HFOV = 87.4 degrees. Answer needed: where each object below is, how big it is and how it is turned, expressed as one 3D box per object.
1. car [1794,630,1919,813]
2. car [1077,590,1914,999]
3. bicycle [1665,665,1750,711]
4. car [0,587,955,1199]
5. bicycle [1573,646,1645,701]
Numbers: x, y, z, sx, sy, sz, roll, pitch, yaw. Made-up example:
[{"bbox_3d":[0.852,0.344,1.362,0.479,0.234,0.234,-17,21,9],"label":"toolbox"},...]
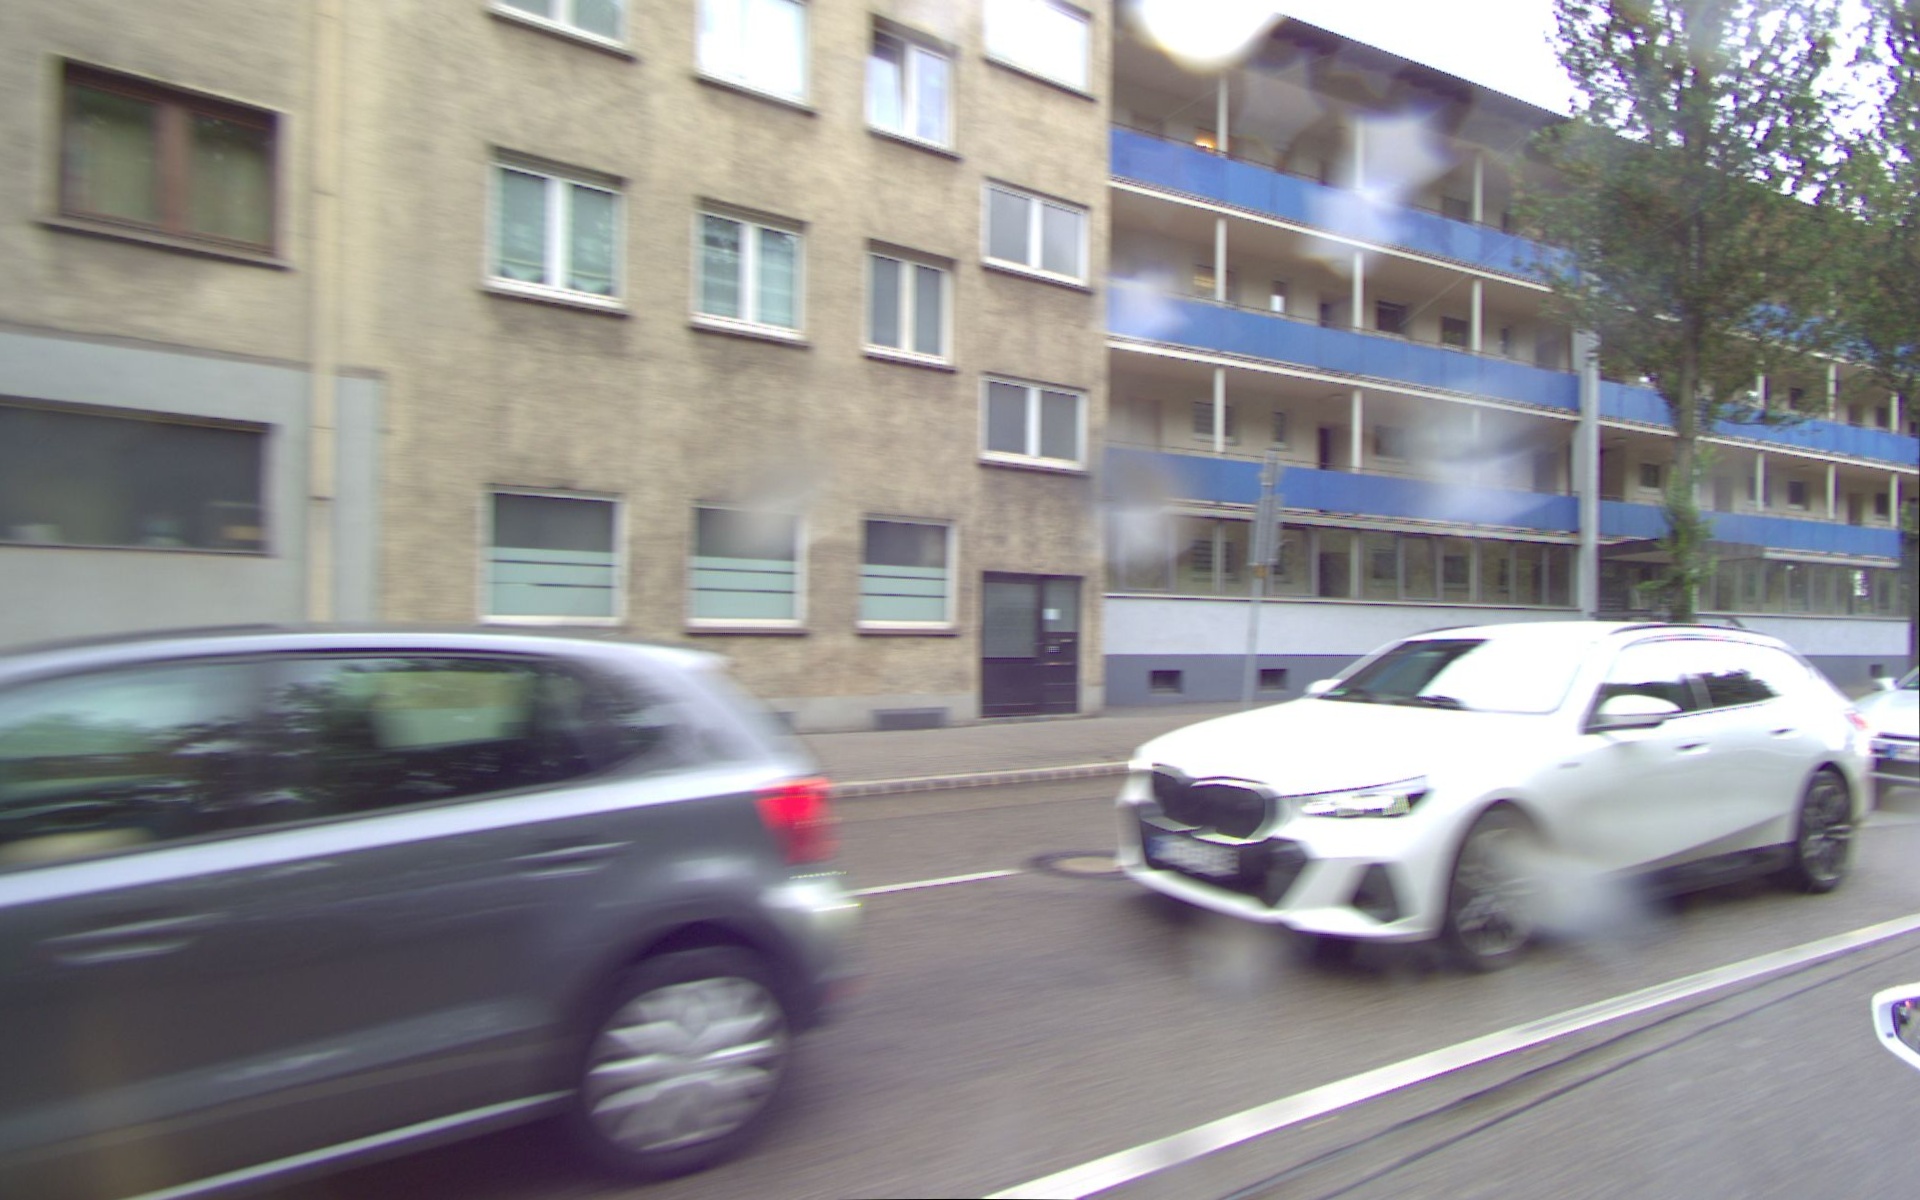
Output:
[{"bbox_3d":[9.652,1.019,8.973,4.477,1.444,1.747,1,-1,-27],"label":"car"},{"bbox_3d":[3.231,0.823,5.786,4.965,1.536,1.813,2,-3,-28],"label":"car"},{"bbox_3d":[15.388,1.790,20.687,1.717,0.837,0.665,1,2,-26],"label":"bicycle"},{"bbox_3d":[-2.048,0.743,2.762,3.777,1.466,1.671,2,-3,-31],"label":"car"},{"bbox_3d":[13.024,1.455,20.141,1.716,1.037,0.608,2,-2,-35],"label":"bicycle"}]
